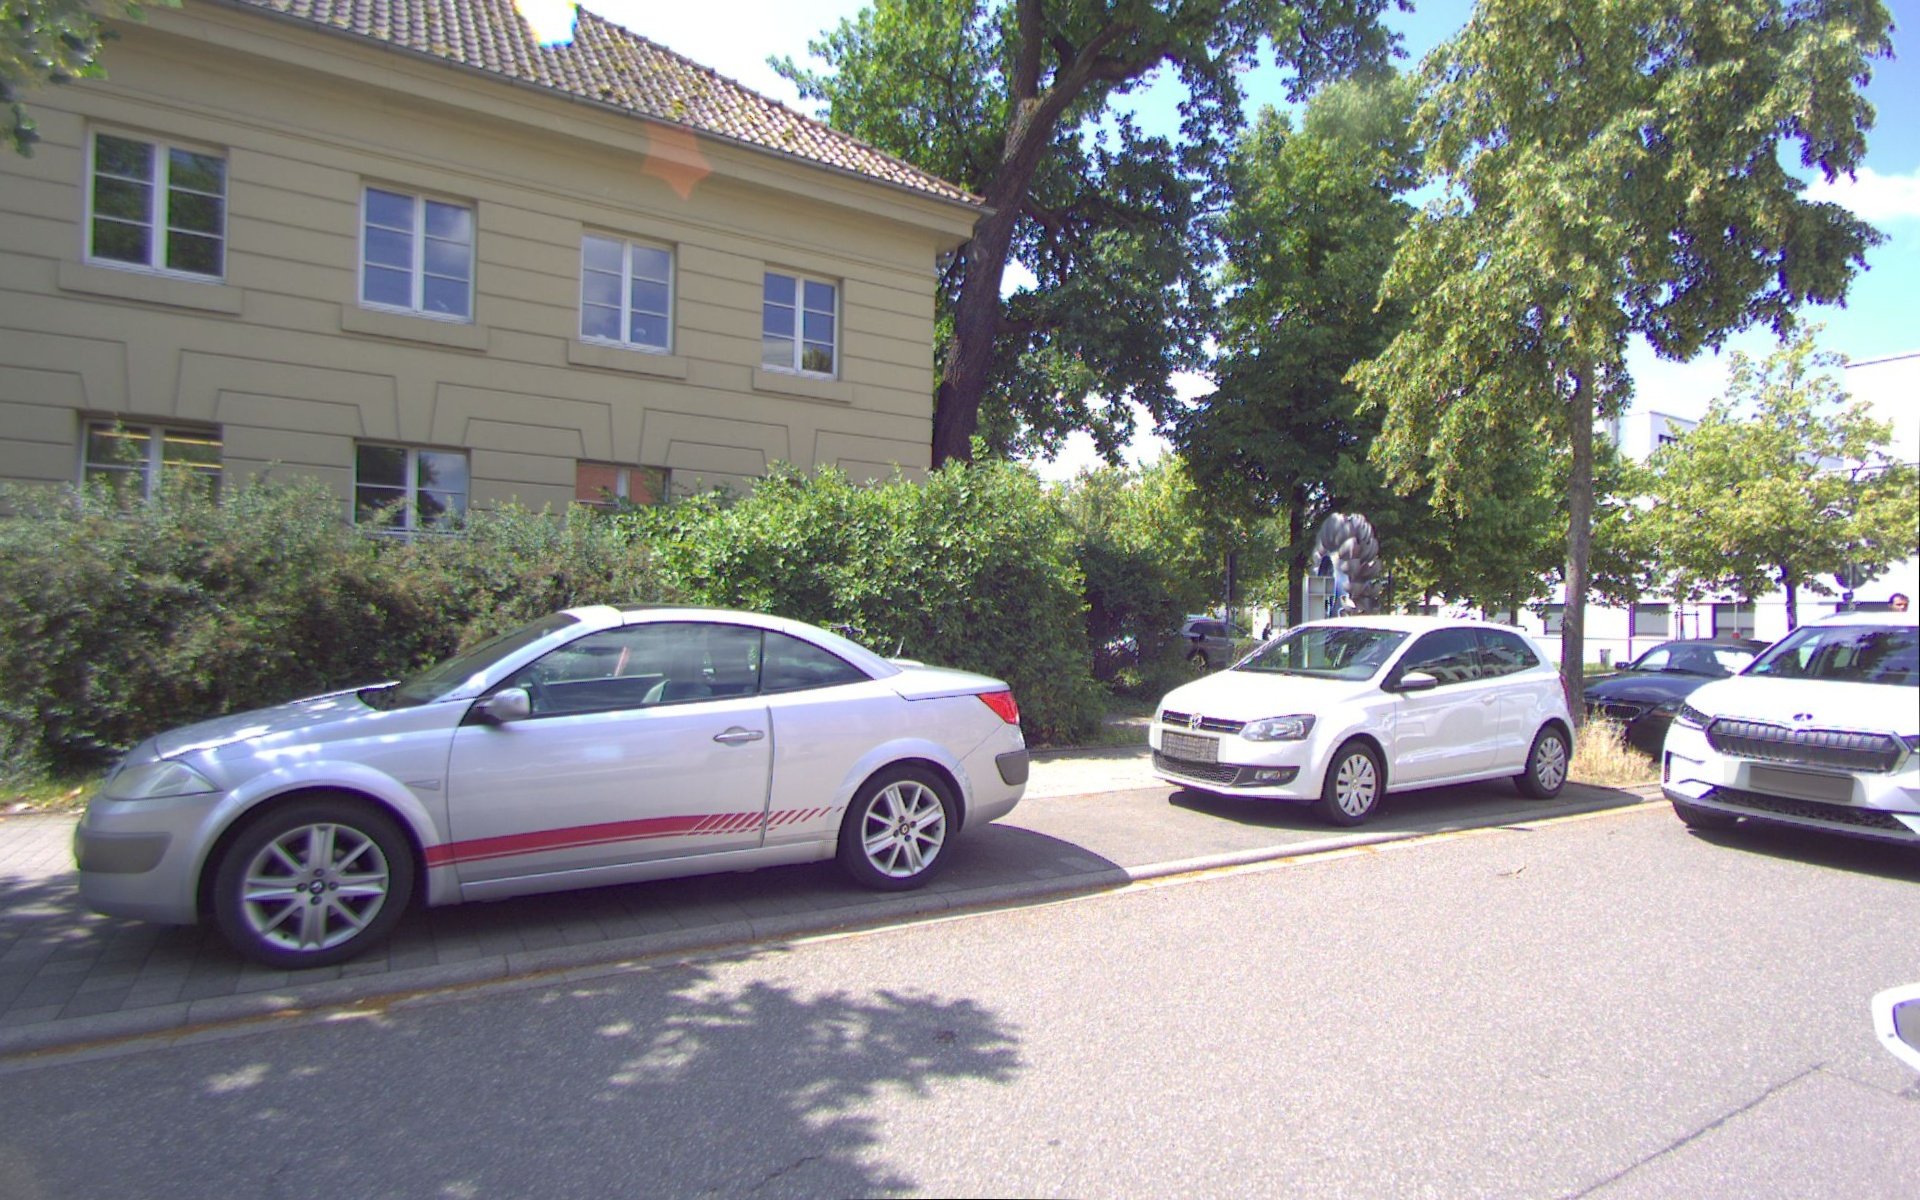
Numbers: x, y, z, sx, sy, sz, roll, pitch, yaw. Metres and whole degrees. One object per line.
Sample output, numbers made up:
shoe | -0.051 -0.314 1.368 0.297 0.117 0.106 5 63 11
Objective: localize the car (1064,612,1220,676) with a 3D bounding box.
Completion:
car | 5.471 1.315 30.099 4.390 1.791 1.919 1 -4 -31

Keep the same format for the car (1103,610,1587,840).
car | 3.155 0.852 8.069 3.763 1.430 1.654 2 0 -31

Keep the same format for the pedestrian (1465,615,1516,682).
pedestrian | 13.857 1.254 26.261 0.838 1.731 0.854 -1 -1 -2

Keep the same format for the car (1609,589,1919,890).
car | 6.969 0.879 7.366 4.470 1.640 1.908 3 1 -32

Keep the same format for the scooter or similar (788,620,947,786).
scooter or similar | -0.773 0.837 8.455 1.214 1.304 0.522 1 -4 -31

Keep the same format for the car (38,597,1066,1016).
car | -1.656 0.738 5.095 4.115 1.361 1.717 2 0 -29

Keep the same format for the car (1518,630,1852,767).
car | 8.314 1.032 11.462 3.880 1.318 1.638 2 -2 -30

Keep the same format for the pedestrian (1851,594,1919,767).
pedestrian | 11.133 0.925 11.761 1.003 1.928 1.172 1 -1 42

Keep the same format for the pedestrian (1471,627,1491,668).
pedestrian | 22.801 2.070 43.955 0.579 1.788 0.549 2 -1 -30

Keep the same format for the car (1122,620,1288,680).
car | 6.801 1.376 27.792 4.390 1.536 1.919 1 -4 -31

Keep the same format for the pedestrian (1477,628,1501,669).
pedestrian | 23.403 2.139 44.468 0.629 1.772 0.690 2 -1 -30
